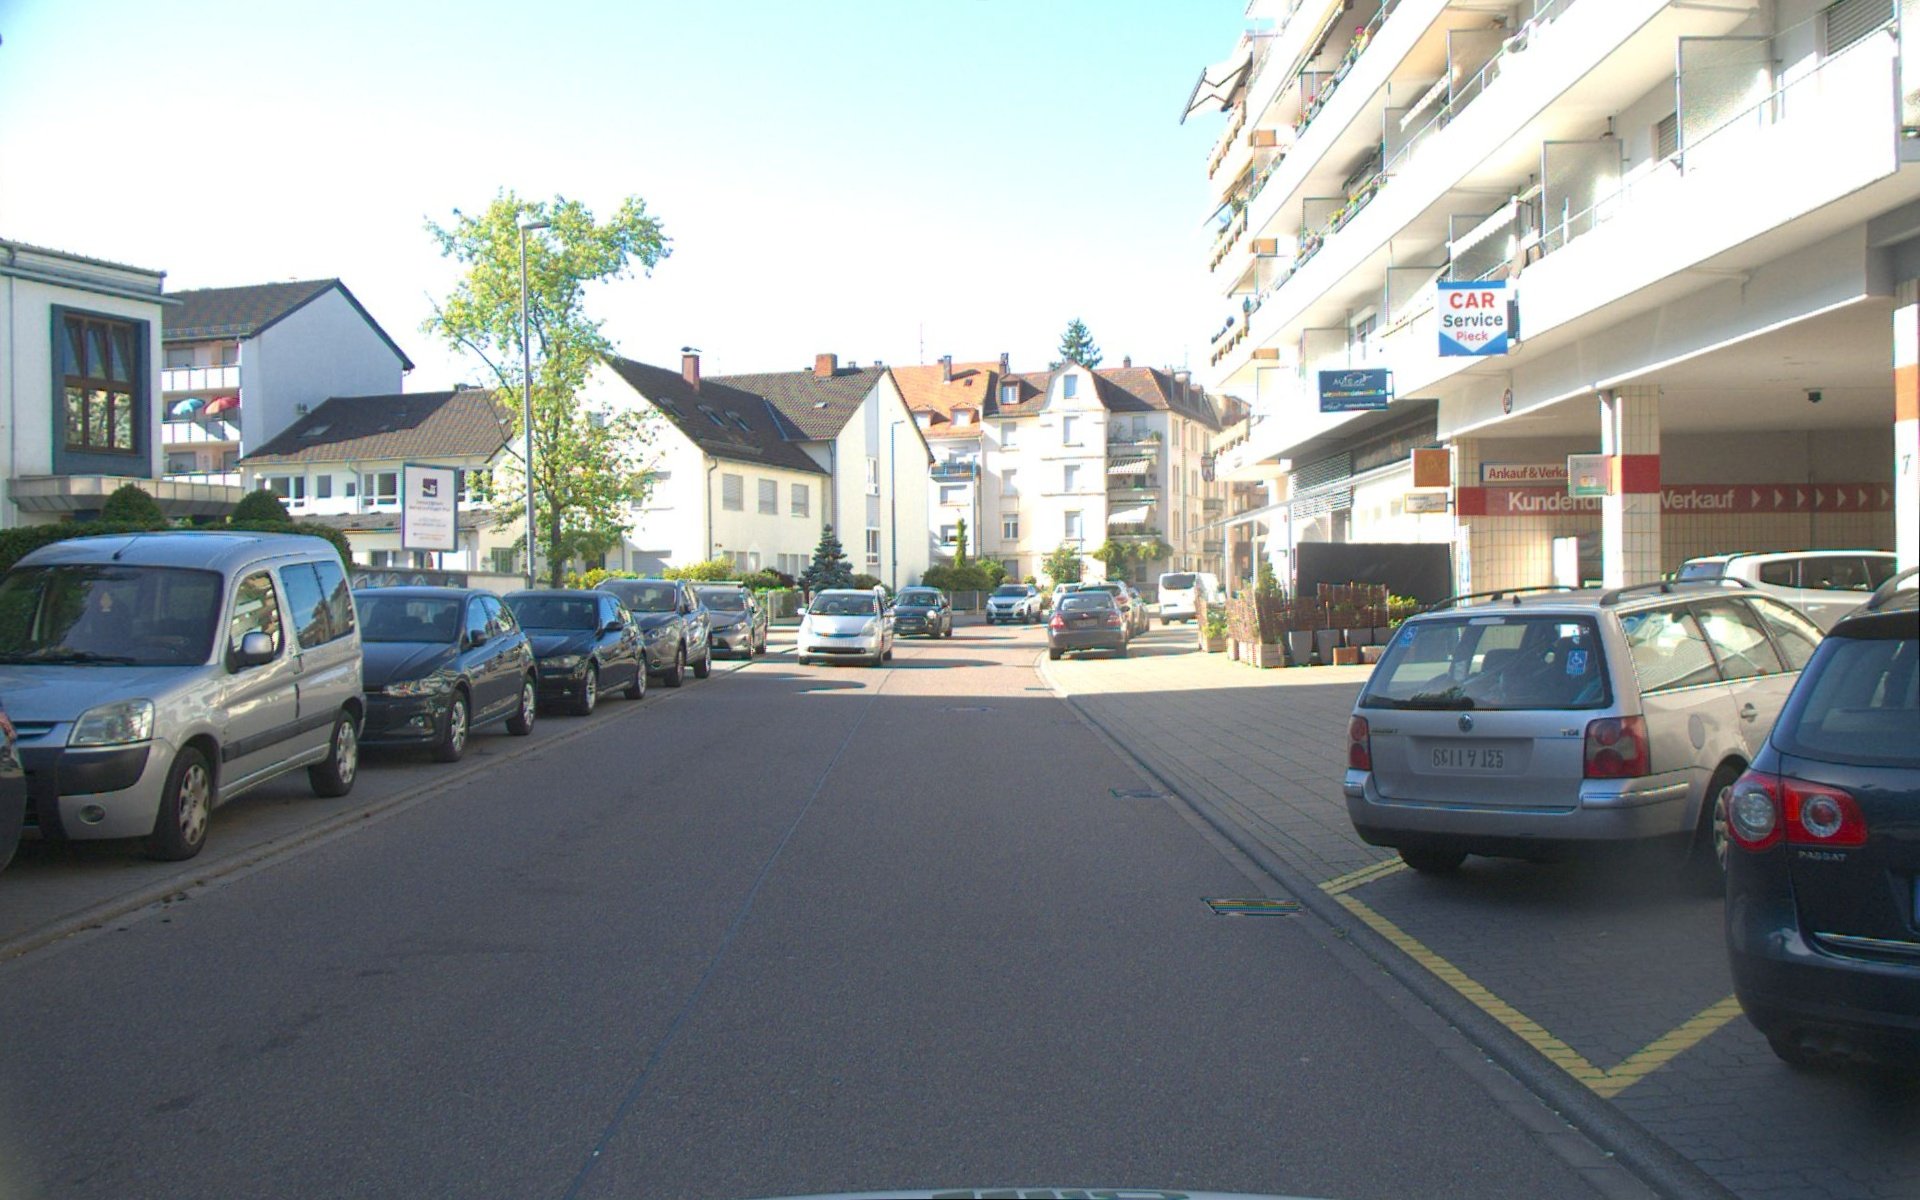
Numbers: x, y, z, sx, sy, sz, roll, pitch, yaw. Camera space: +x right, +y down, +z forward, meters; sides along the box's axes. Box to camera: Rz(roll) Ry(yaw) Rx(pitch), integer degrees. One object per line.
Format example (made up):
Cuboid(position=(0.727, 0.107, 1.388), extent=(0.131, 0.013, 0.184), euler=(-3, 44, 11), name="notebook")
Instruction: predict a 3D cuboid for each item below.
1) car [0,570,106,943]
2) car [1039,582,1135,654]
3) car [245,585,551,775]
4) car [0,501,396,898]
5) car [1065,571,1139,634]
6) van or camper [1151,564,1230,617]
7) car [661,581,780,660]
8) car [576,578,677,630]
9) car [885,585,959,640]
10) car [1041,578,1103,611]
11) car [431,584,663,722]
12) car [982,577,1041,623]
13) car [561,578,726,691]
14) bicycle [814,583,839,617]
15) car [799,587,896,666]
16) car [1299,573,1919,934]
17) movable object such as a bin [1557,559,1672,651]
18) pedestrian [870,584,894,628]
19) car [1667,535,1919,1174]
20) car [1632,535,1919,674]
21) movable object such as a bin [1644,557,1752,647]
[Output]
Cuboid(position=(-4.651, 0.636, 4.985), extent=(1.697, 1.465, 4.612), euler=(-1, 0, 1), name="car")
Cuboid(position=(2.927, 0.391, 37.225), extent=(1.929, 1.476, 5.007), euler=(-1, 0, 7), name="car")
Cuboid(position=(-4.870, 0.614, 14.884), extent=(1.566, 1.466, 3.998), euler=(0, 0, -3), name="car")
Cuboid(position=(-4.881, 0.453, 9.964), extent=(1.654, 1.871, 4.339), euler=(-1, 1, -3), name="car")
Cuboid(position=(4.214, 0.119, 48.622), extent=(1.778, 1.682, 4.563), euler=(-1, -2, 9), name="car")
Cuboid(position=(9.333, -0.402, 66.667), extent=(1.979, 1.981, 4.703), euler=(-3, 0, 22), name="van or camper")
Cuboid(position=(-5.130, 0.385, 36.036), extent=(1.953, 1.561, 4.917), euler=(-1, 1, -1), name="car")
Cuboid(position=(-10.773, 0.164, 53.608), extent=(1.763, 1.583, 3.187), euler=(-2, -2, 22), name="car")
Cuboid(position=(-1.133, 0.402, 50.729), extent=(1.703, 1.539, 3.732), euler=(-1, -2, 7), name="car")
Cuboid(position=(6.390, -0.313, 94.869), extent=(1.960, 1.816, 4.494), euler=(-2, 0, -19), name="car")
Cuboid(position=(-4.917, 0.554, 20.311), extent=(1.690, 1.490, 4.439), euler=(-1, 1, 0), name="car")
Cuboid(position=(2.211, 0.031, 70.023), extent=(1.878, 1.755, 4.340), euler=(-1, -2, 10), name="car")
Cuboid(position=(-4.869, 0.472, 26.023), extent=(1.684, 1.614, 4.422), euler=(-1, 1, 0), name="car")
Cuboid(position=(-5.289, 0.002, 65.515), extent=(0.446, 1.272, 1.929), euler=(-1, -2, 11), name="bicycle")
Cuboid(position=(-2.271, 0.500, 34.332), extent=(1.690, 1.511, 4.106), euler=(-1, 1, 0), name="car")
Cuboid(position=(3.933, 0.648, 9.233), extent=(4.611, 1.491, 1.663), euler=(-2, -1, -44), name="car")
Cuboid(position=(11.303, 0.099, 28.608), extent=(1.432, 1.526, 1.264), euler=(-1, -2, -1), name="movable object such as a bin")
Cuboid(position=(-3.141, 0.230, 66.308), extent=(0.668, 1.733, 0.824), euler=(-2, -2, 21), name="pedestrian")
Cuboid(position=(3.989, 0.560, 5.331), extent=(1.726, 1.539, 4.298), euler=(-2, -1, 44), name="car")
Cuboid(position=(10.831, 0.028, 20.317), extent=(4.302, 1.539, 1.979), euler=(-2, 0, -1), name="car")
Cuboid(position=(12.742, 0.051, 28.603), extent=(1.303, 1.492, 1.162), euler=(-1, -2, 0), name="movable object such as a bin")
